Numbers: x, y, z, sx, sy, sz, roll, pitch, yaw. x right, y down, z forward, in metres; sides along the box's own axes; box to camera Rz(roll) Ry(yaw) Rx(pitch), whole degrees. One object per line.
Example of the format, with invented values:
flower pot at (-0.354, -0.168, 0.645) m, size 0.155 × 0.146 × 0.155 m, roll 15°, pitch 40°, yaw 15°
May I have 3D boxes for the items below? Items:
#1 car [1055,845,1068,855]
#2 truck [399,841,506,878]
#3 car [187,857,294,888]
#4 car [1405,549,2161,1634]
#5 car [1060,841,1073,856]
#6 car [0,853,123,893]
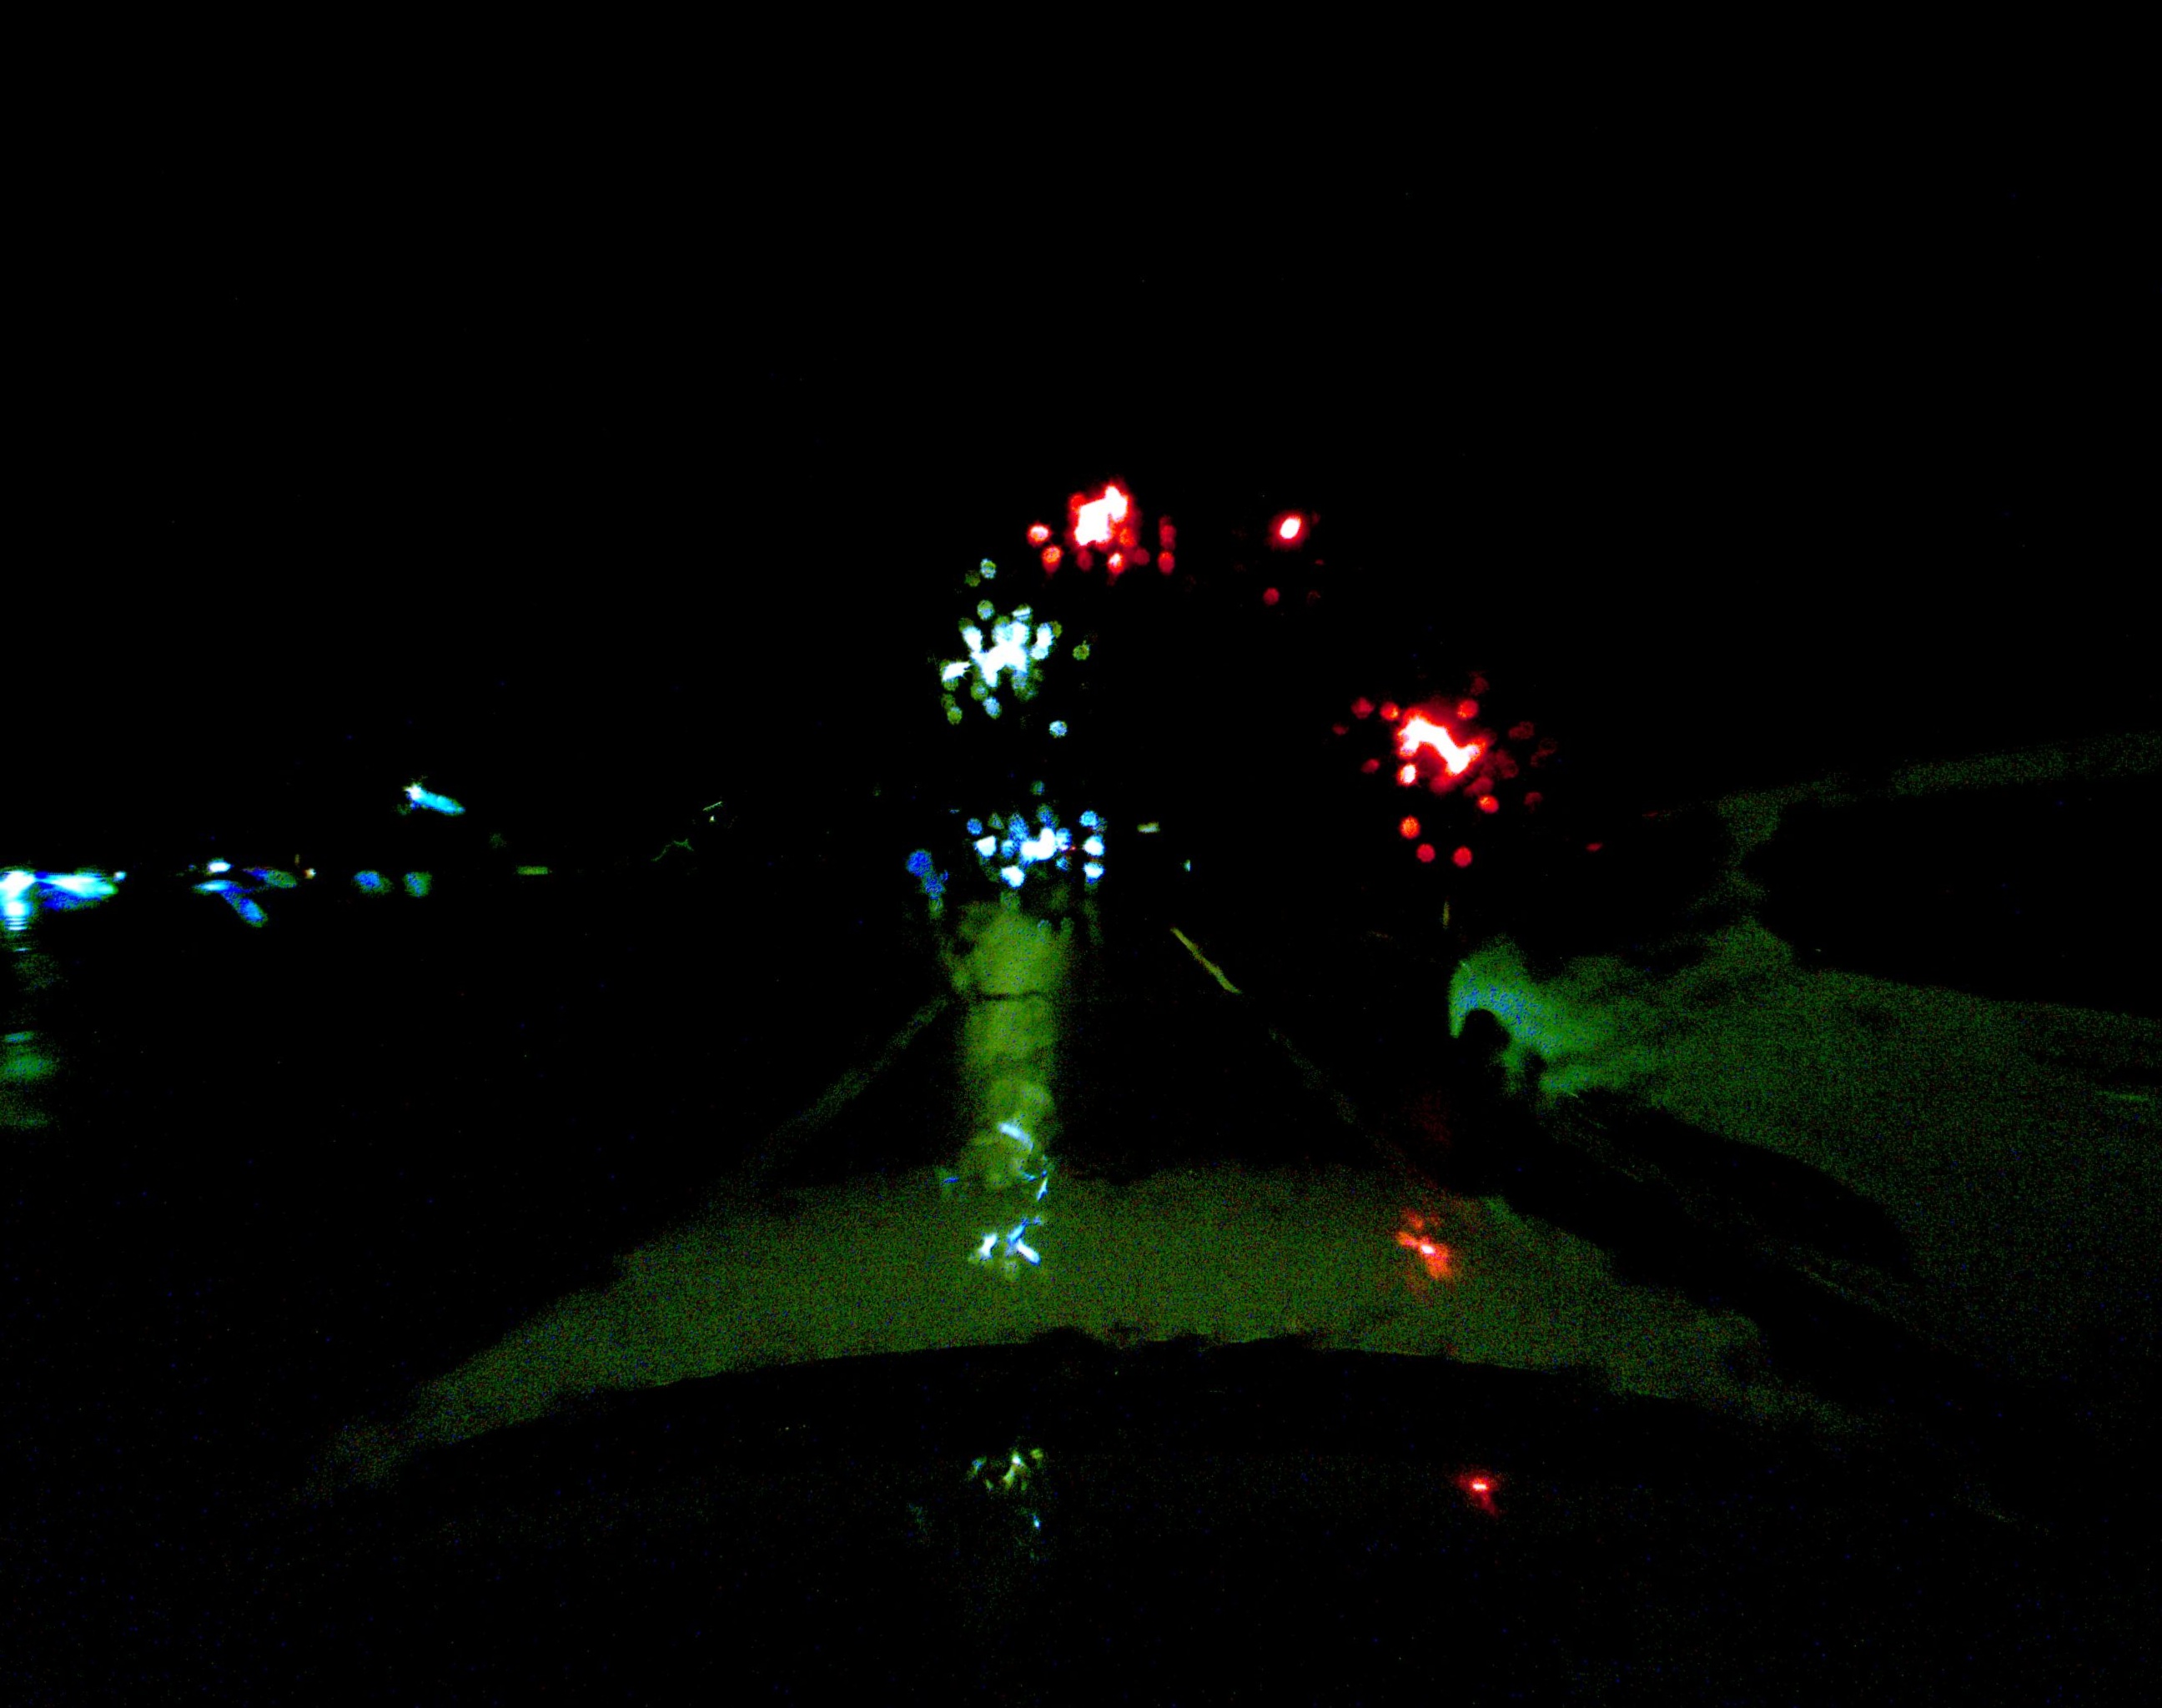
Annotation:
car at (-3.705, -0.819, 155.596) m, size 1.983 × 1.717 × 4.007 m, roll 3°, pitch -1°, yaw 7°
truck at (-40.744, 0.313, 53.057) m, size 1.985 × 2.271 × 6.026 m, roll 0°, pitch 0°, yaw 3°
car at (-42.663, 0.898, 41.472) m, size 1.721 × 1.519 × 3.987 m, roll 0°, pitch 0°, yaw -9°
car at (2.910, 0.438, 2.790) m, size 1.785 × 2.022 × 4.579 m, roll -1°, pitch 0°, yaw 0°
car at (-1.967, -0.693, 112.878) m, size 1.786 × 2.022 × 4.578 m, roll -1°, pitch 0°, yaw -1°
car at (-41.694, 0.725, 32.789) m, size 1.719 × 1.519 × 3.993 m, roll 0°, pitch 0°, yaw -5°
